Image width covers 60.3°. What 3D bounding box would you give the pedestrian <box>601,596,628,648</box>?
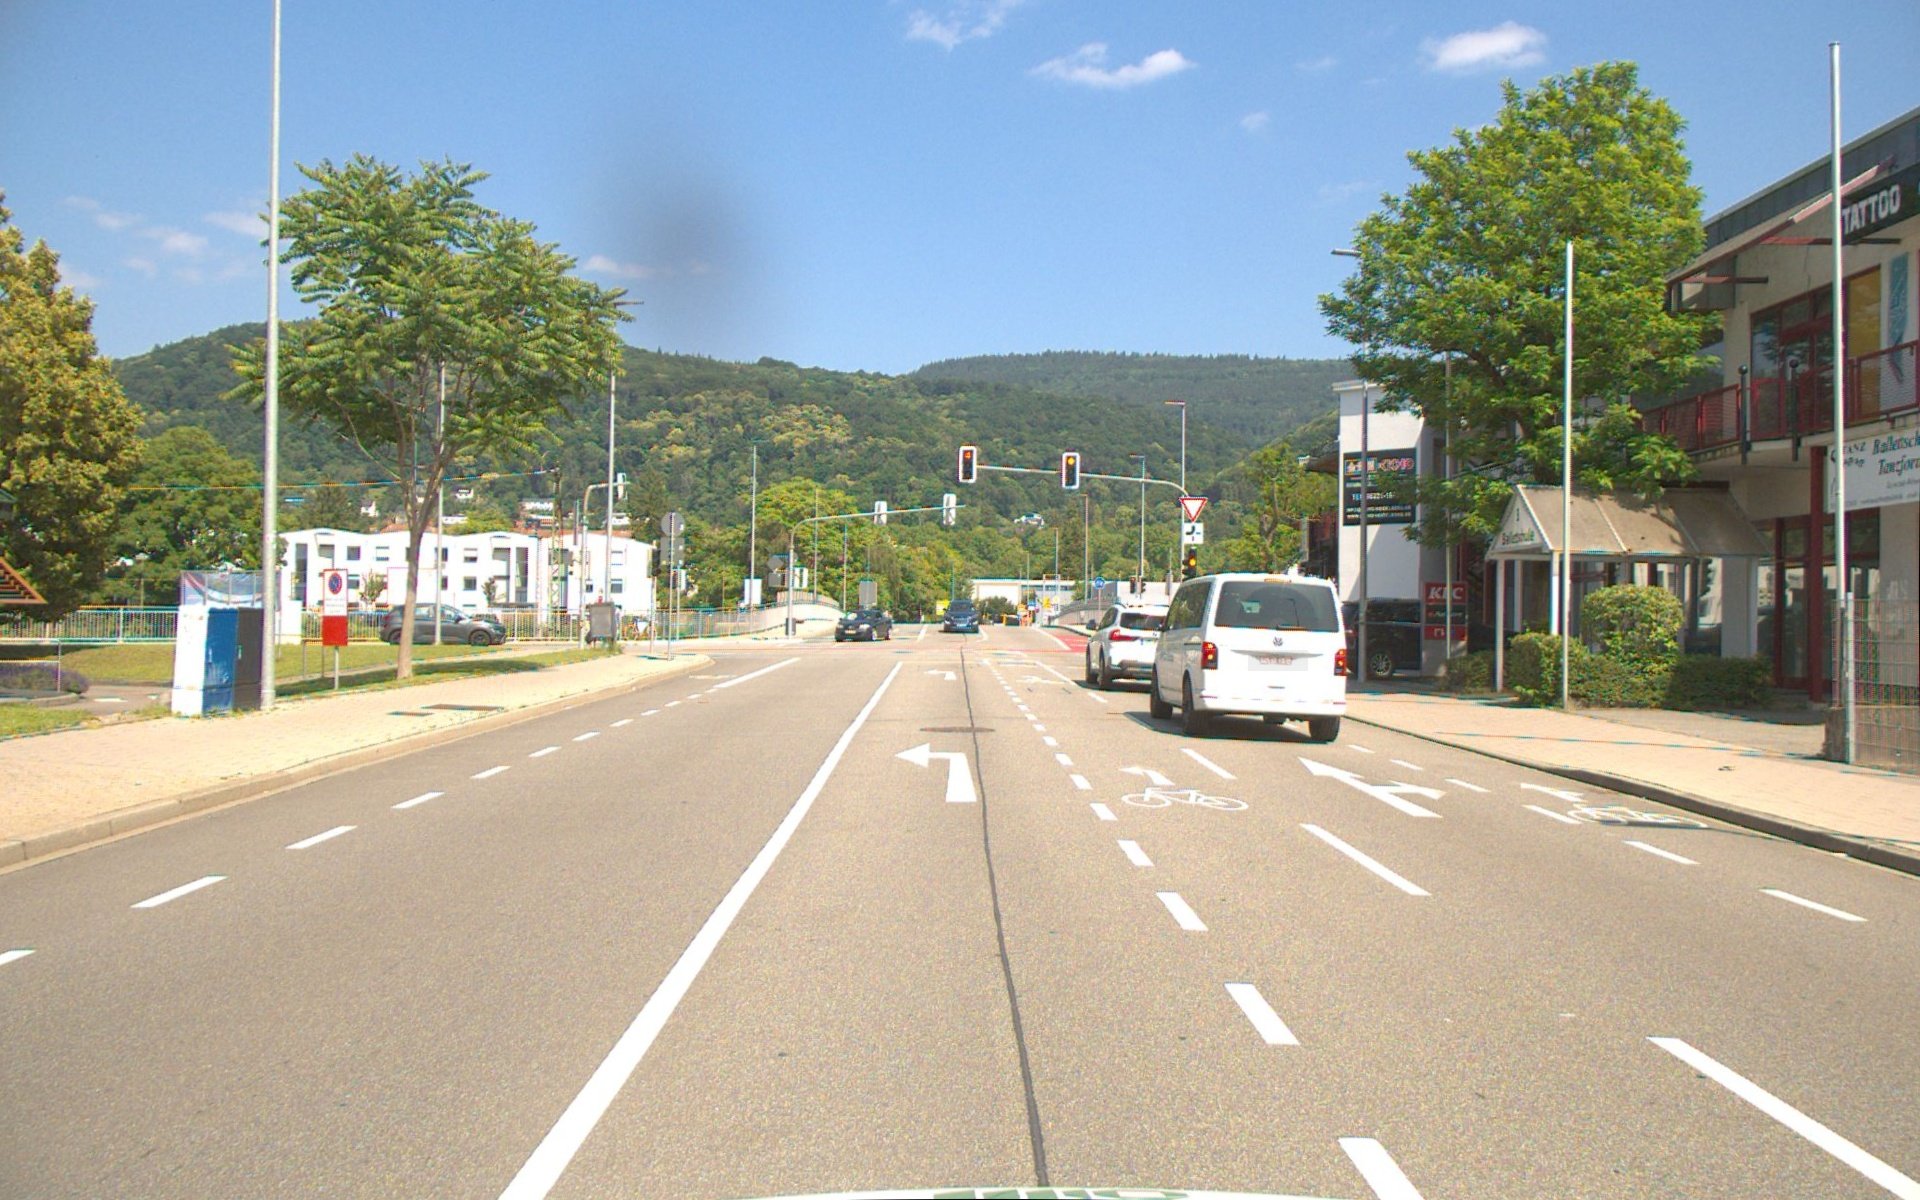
[{"bbox_3d":[-10.729,0.666,51.360,0.684,1.601,0.675,0,0,-3],"label":"pedestrian"}]

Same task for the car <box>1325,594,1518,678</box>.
[{"bbox_3d":[10.359,0.791,37.368,3.902,1.806,2.001,0,0,5],"label":"car"}]

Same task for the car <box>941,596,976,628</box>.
[{"bbox_3d":[-0.091,0.607,86.553,1.812,1.616,4.000,0,0,0],"label":"car"}]

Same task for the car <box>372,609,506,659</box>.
[{"bbox_3d":[-17.623,1.143,55.965,4.250,1.620,1.989,0,0,-19],"label":"car"}]

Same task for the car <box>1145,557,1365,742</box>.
[{"bbox_3d":[3.699,0.571,21.593,1.895,2.095,4.543,2,0,-2],"label":"car"}]

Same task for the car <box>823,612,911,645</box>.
[{"bbox_3d":[-4.088,1.229,73.485,1.956,1.394,4.320,0,0,29],"label":"car"}]

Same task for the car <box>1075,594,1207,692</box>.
[{"bbox_3d":[3.486,0.788,32.622,1.896,1.716,4.542,3,0,-2],"label":"car"}]

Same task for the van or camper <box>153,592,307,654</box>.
[{"bbox_3d":[-21.735,0.683,49.424,3.926,1.601,1.990,3,0,-19],"label":"van or camper"}]
